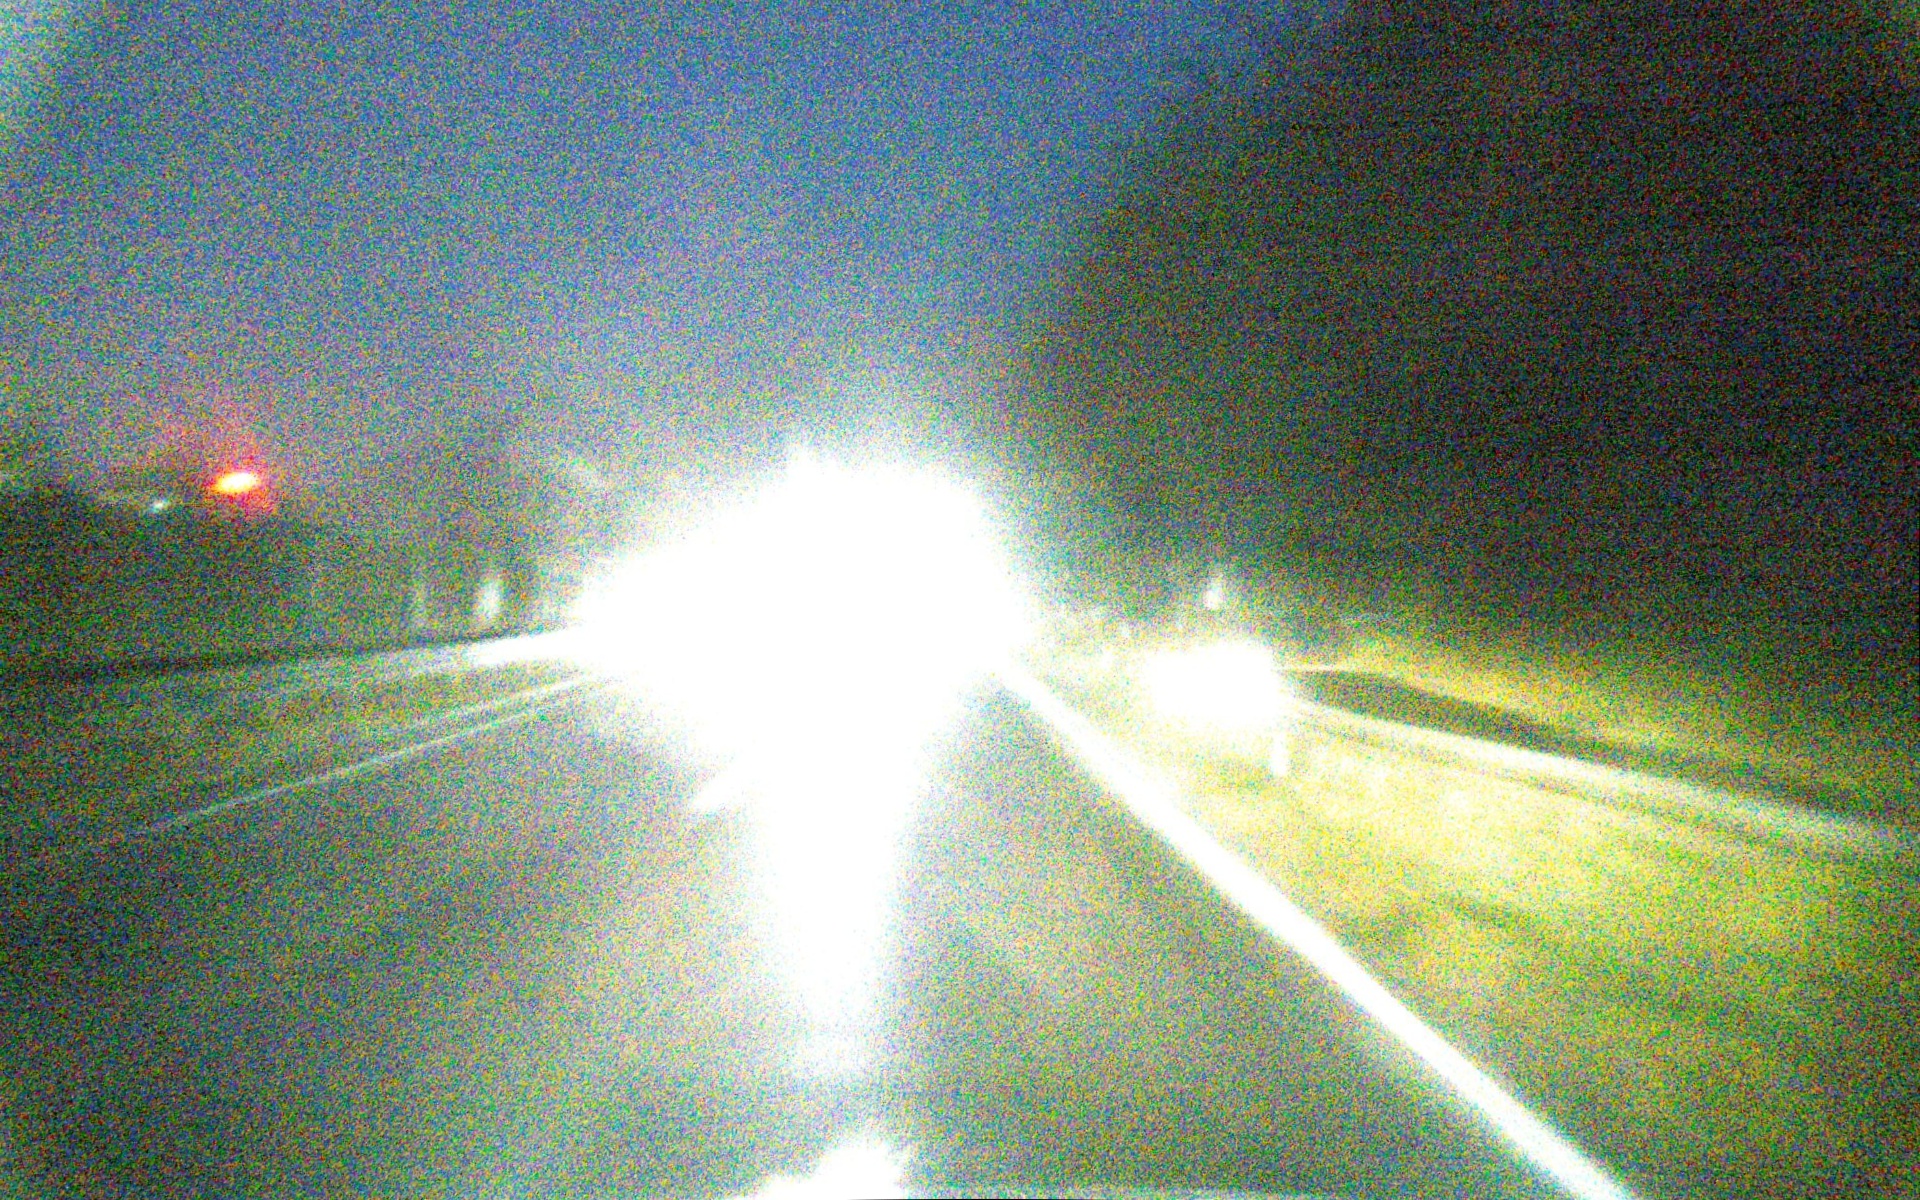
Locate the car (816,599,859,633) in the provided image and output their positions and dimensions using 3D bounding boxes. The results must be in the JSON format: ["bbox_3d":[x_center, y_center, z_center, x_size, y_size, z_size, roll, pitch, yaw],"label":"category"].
[{"bbox_3d":[-6.038,0.770,81.635,1.953,1.526,3.999,1,1,-2],"label":"car"}]
